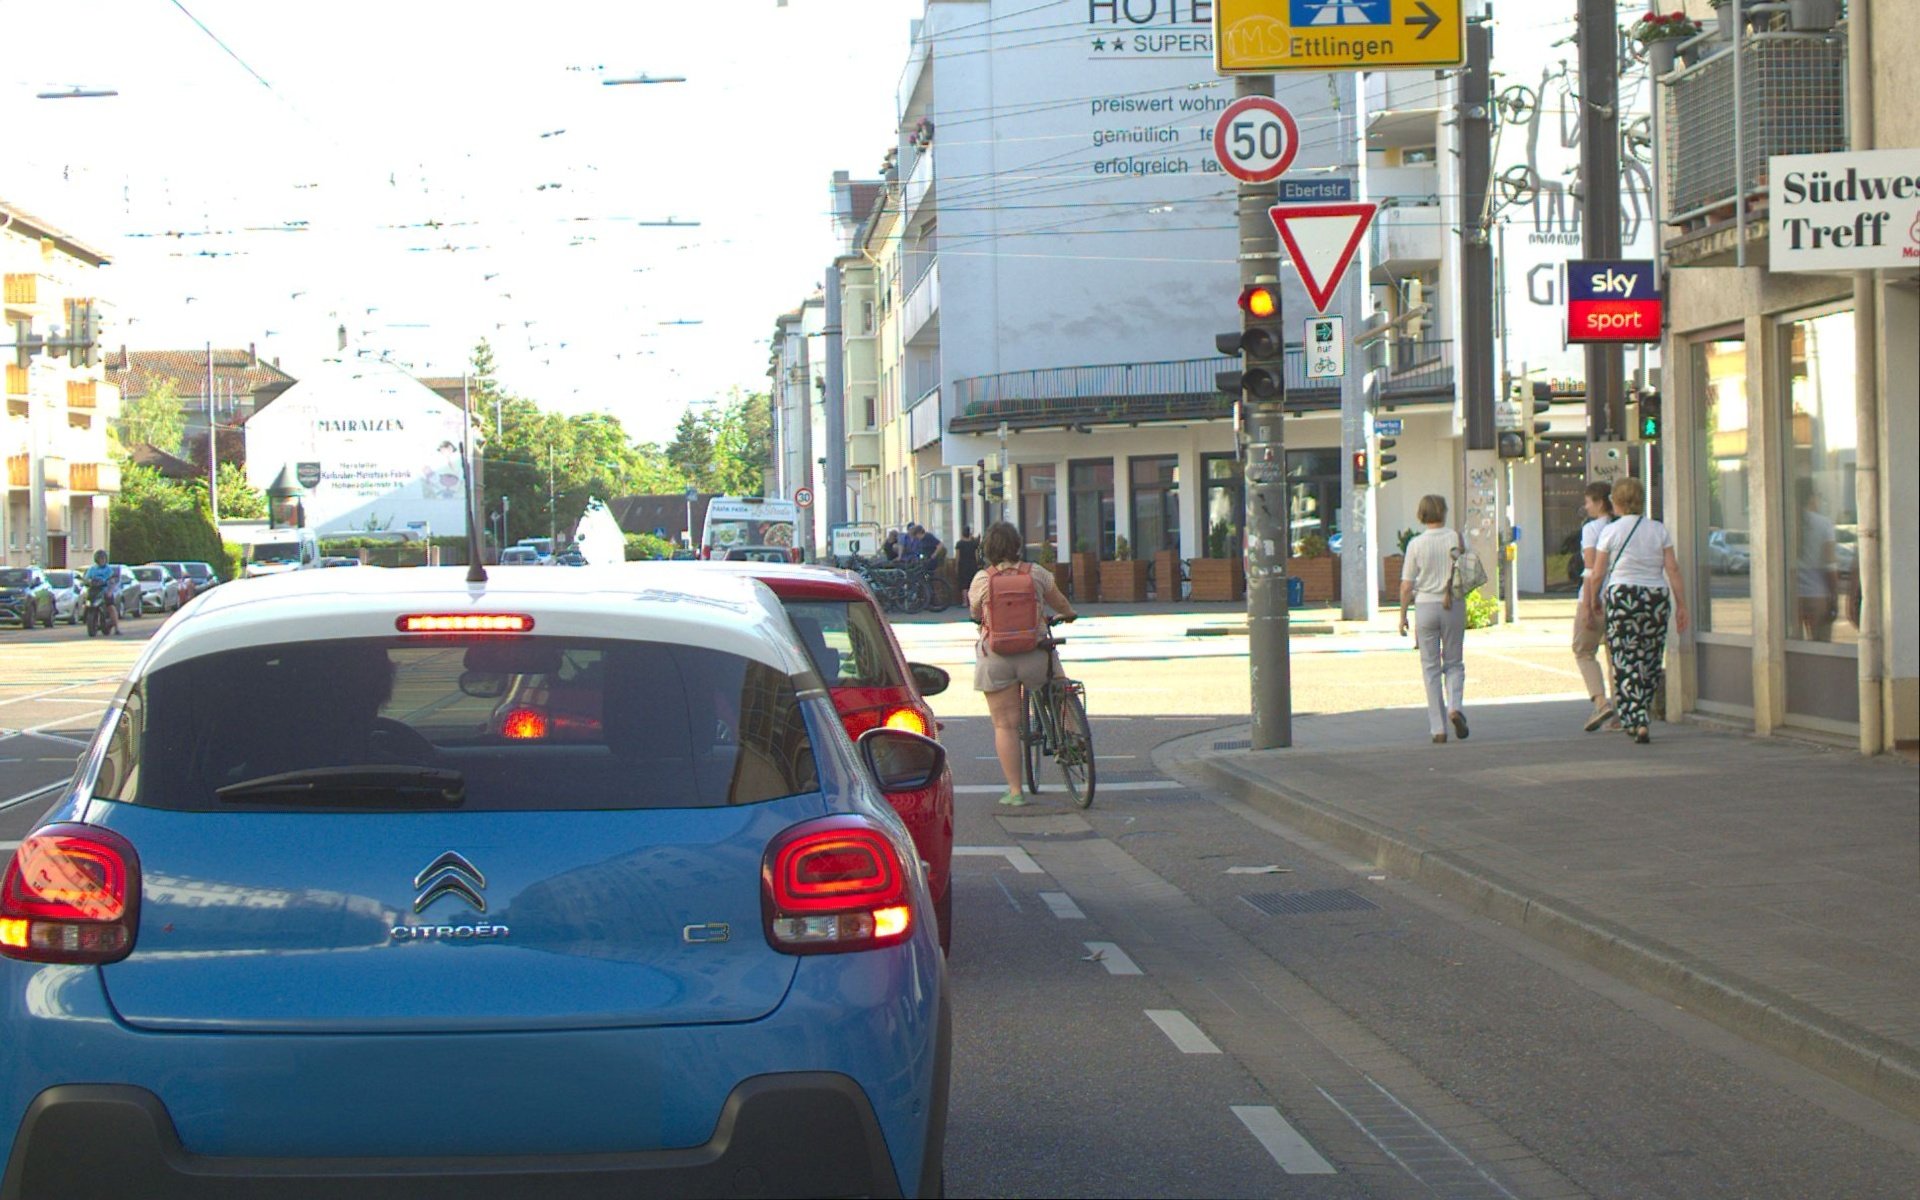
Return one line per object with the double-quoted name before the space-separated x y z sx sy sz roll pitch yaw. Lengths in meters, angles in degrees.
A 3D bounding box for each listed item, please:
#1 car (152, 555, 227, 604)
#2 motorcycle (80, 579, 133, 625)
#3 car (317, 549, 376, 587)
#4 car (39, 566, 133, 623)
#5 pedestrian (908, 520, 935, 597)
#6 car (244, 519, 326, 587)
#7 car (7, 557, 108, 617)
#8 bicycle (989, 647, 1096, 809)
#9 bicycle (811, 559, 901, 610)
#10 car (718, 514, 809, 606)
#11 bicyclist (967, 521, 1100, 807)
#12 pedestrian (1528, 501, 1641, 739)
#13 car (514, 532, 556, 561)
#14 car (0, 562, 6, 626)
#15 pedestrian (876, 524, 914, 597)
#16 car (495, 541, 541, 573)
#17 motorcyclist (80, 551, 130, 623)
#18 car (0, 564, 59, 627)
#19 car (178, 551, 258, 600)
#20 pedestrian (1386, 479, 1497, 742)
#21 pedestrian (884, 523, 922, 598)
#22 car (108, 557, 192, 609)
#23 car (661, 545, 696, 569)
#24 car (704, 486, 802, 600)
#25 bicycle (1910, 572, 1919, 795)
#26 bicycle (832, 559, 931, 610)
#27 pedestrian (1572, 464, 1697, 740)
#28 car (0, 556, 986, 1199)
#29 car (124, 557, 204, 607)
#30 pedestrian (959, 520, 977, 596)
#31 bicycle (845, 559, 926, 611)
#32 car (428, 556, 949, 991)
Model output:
"car" -26.011 -0.709 116.163 1.870 1.568 4.001 -1 1 -4
"motorcycle" -16.695 0.033 67.280 0.615 0.861 1.671 -1 1 0
"car" -25.775 -1.349 144.487 2.021 1.520 4.001 -1 1 -4
"car" -24.800 -0.173 97.672 1.910 1.492 4.001 -1 1 -5
"pedestrian" -0.785 -0.848 69.615 0.491 1.550 0.384 -1 1 -3
"car" -23.382 -1.640 119.300 2.206 2.243 4.678 -1 1 -4
"car" -24.142 -0.368 92.096 1.910 1.492 4.001 -1 1 -5
"bicycle" 0.481 0.745 20.630 0.498 0.861 1.749 -1 1 -3
"bicycle" -2.063 -0.315 68.410 1.720 0.953 0.702 -1 1 1
"car" -3.872 -0.788 67.519 1.732 1.744 3.214 0 1 -4
"bicyclist" 0.426 0.361 20.287 0.726 1.640 0.790 -1 1 -1
"pedestrian" 4.101 0.122 22.605 0.541 1.502 0.611 -3 3 -2
"car" -23.163 -2.943 187.429 2.021 1.520 4.001 -2 1 -4
"car" -23.348 -0.093 79.178 1.910 1.492 4.001 -1 1 -5
"pedestrian" -1.407 -0.860 74.332 0.646 1.550 0.493 -2 1 -22
"car" -21.769 -2.118 169.397 2.021 1.520 4.001 -1 1 -4
"motorcyclist" -16.689 -0.251 67.121 0.719 1.373 0.911 -1 1 0
"car" -23.875 -0.120 85.961 1.910 1.492 4.001 -1 1 -5
"car" -26.205 -0.872 121.588 2.030 1.614 4.511 -1 1 -3
"pedestrian" 3.152 0.056 22.544 0.541 1.666 0.624 -3 3 -2
"pedestrian" -1.204 -0.839 72.529 0.646 1.550 0.493 -2 1 -22
"car" -24.979 -0.533 106.073 1.910 1.492 4.001 -1 1 -5
"car" -15.828 -2.421 193.174 1.754 1.255 3.833 -1 1 -7
"car" -4.364 -1.194 72.429 1.993 2.317 4.001 0 1 -4
"bicycle" 4.926 0.411 15.733 0.530 1.068 1.811 -1 1 -4
"bicycle" -1.522 -0.303 67.051 1.874 0.953 0.702 -1 1 1
"pedestrian" 4.200 0.007 21.436 0.541 1.666 0.650 -3 1 -2
"car" -1.053 0.646 7.420 1.743 1.457 4.001 0 1 -7
"car" -25.703 -0.592 111.072 1.910 1.492 4.001 -1 1 -5
"pedestrian" 0.163 -0.861 70.141 0.284 1.550 0.305 -1 1 -9
"bicycle" -1.418 -0.289 65.991 1.504 0.953 0.702 -1 1 1
"car" -0.941 0.561 13.643 1.738 1.415 4.000 -1 1 -1
